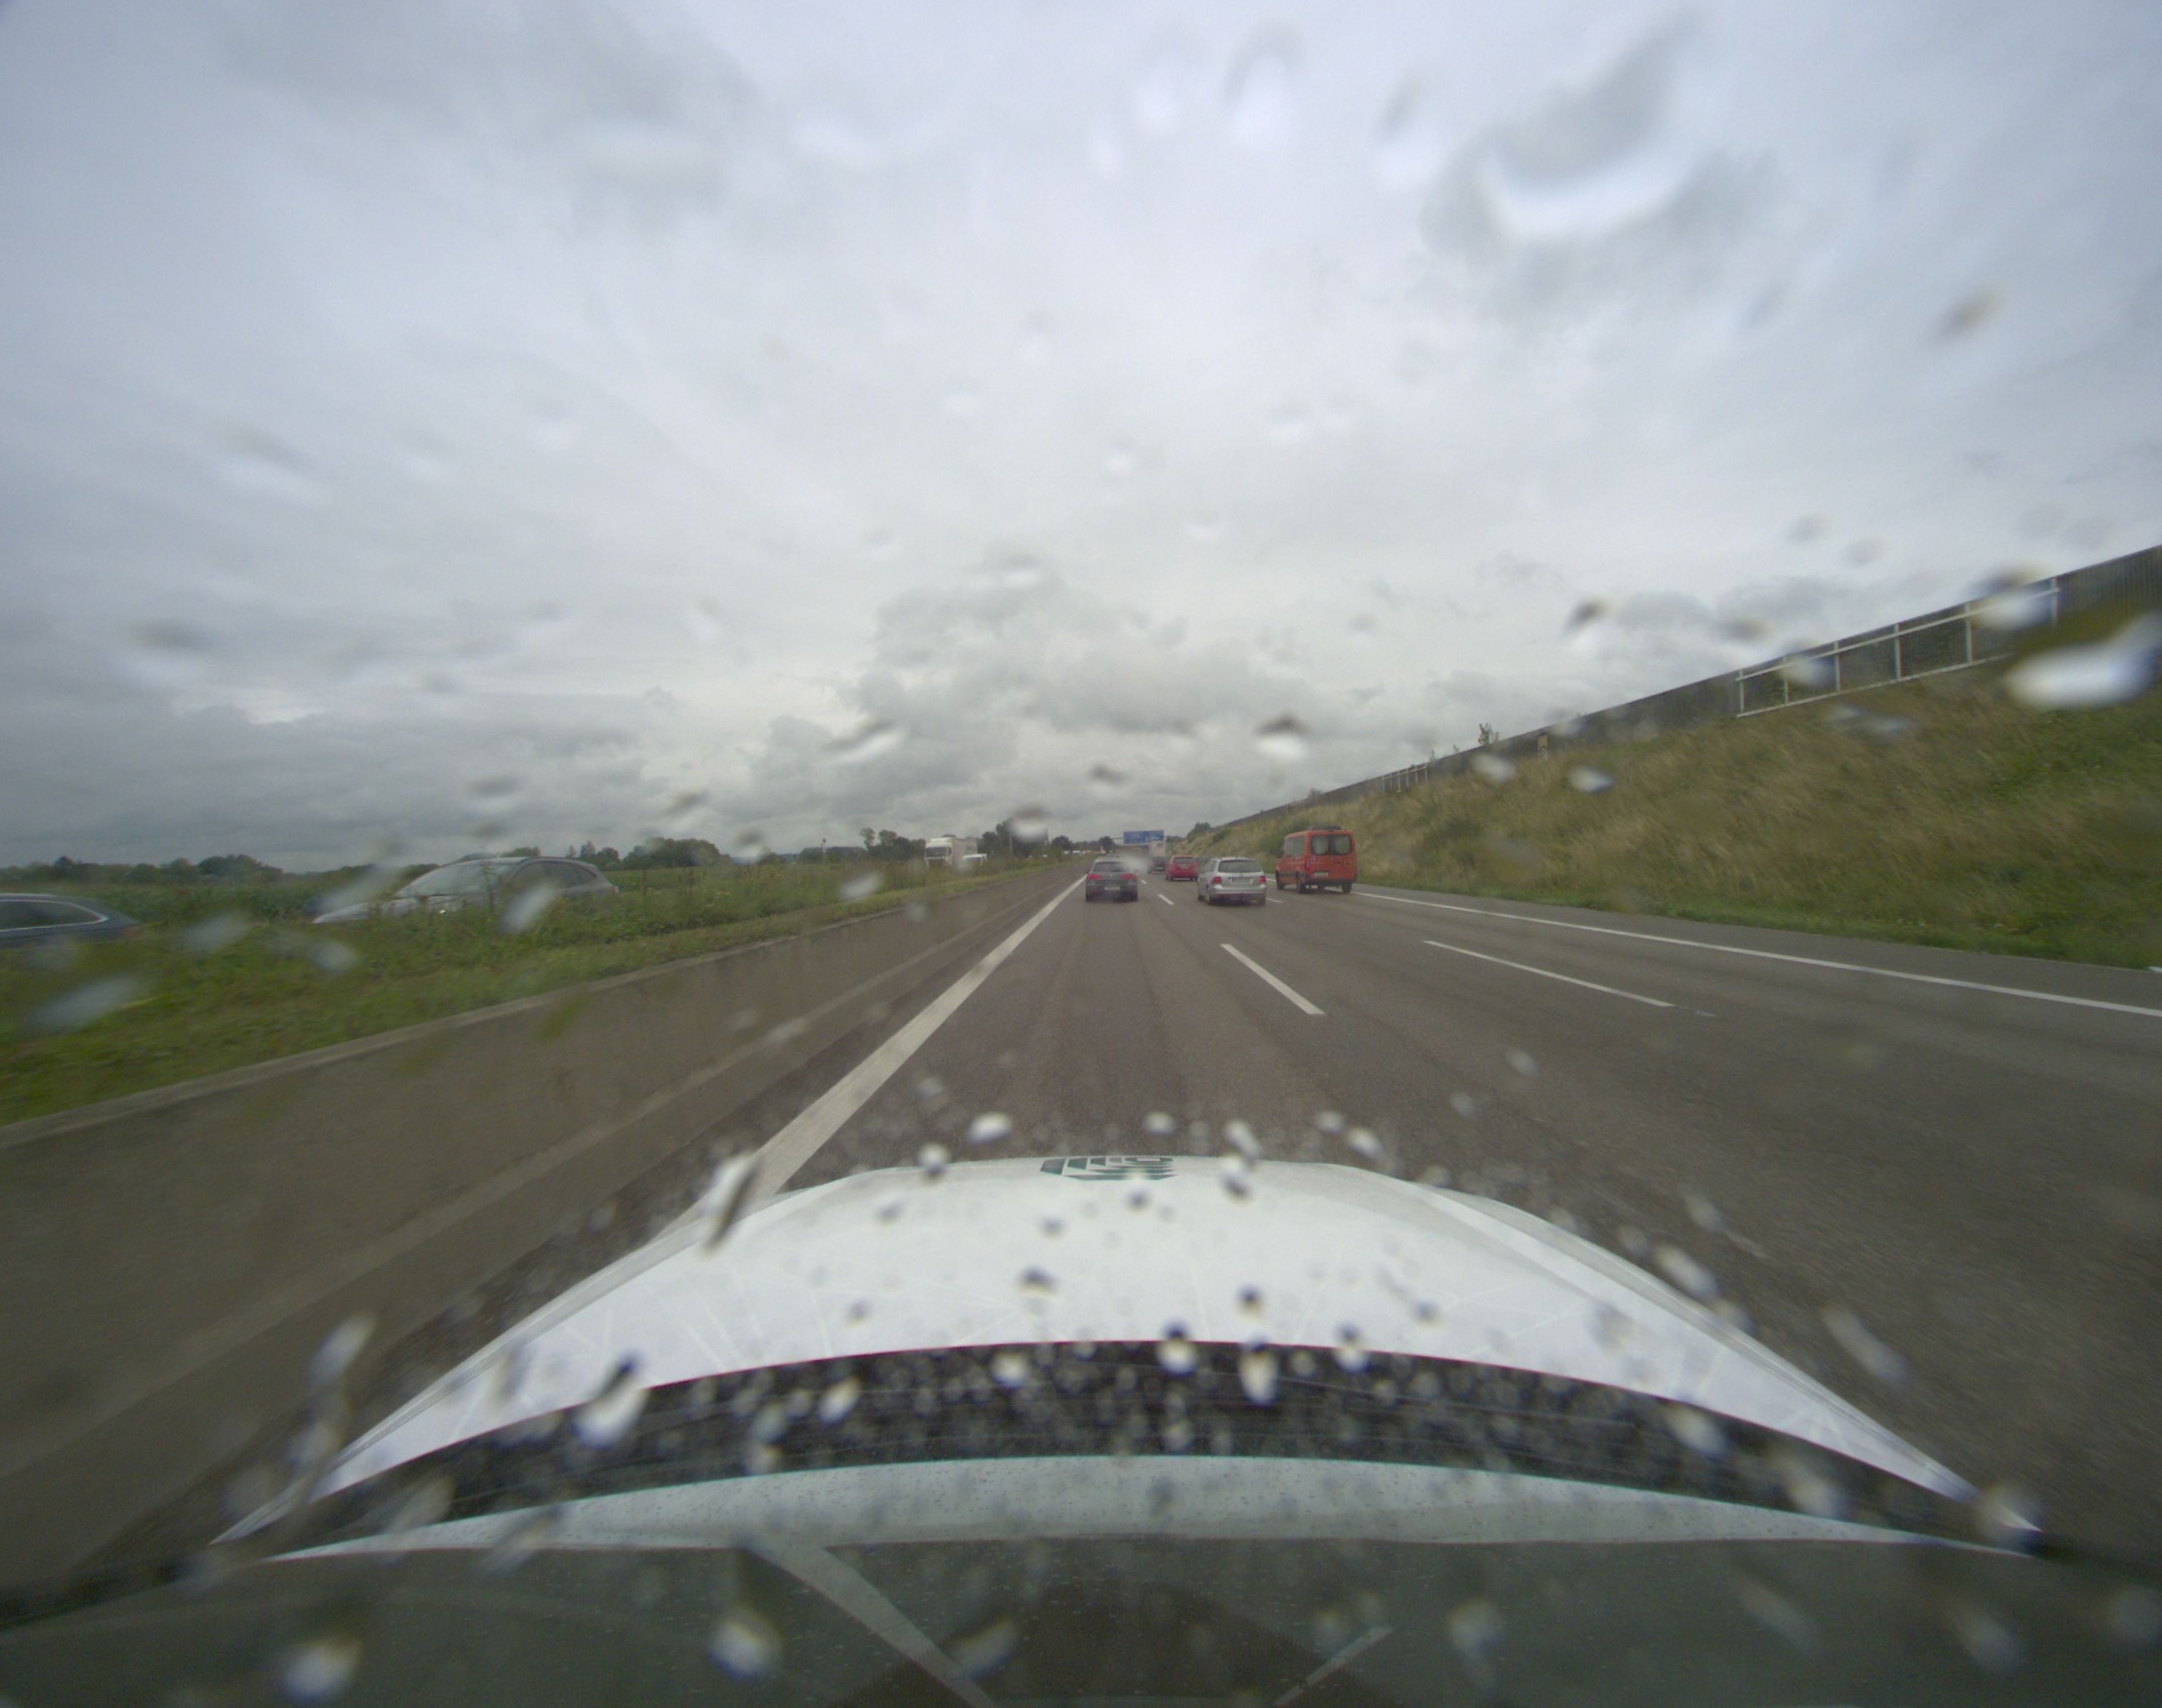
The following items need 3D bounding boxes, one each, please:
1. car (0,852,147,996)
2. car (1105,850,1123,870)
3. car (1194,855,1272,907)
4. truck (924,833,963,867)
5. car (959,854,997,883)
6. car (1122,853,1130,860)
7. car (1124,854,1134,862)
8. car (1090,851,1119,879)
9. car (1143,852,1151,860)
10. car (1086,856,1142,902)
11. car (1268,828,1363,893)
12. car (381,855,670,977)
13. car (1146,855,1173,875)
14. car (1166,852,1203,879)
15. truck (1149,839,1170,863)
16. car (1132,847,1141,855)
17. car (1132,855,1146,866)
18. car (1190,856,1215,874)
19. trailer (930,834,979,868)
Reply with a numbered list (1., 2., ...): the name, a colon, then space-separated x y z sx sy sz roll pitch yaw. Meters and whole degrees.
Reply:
1. car: -12.994 0.787 8.543 1.889 1.603 3.834 -1 0 2
2. car: 3.352 0.579 81.644 1.698 1.796 3.858 -3 0 3
3. car: 4.686 0.776 25.747 1.735 1.425 4.519 -2 0 2
4. truck: -14.204 -0.377 84.487 2.959 3.428 5.629 -1 -1 1
5. car: -7.528 0.999 59.960 1.986 2.013 5.071 -1 0 2
6. car: 12.148 0.607 217.936 1.986 1.813 4.599 -1 0 2
7. car: 9.296 0.781 156.638 1.745 1.517 4.002 -2 0 2
8. car: 1.607 0.734 54.199 1.746 1.750 4.004 -1 -1 4
9. car: 18.012 0.555 222.488 1.986 1.860 4.392 -2 0 2
10. car: 1.155 0.814 28.060 1.761 1.467 4.003 -1 0 3
11. car: 9.198 0.232 32.544 2.078 2.315 6.183 -2 0 1
12. car: -8.778 0.866 13.380 1.875 1.684 4.002 -1 0 2
13. car: 6.442 0.885 67.071 1.914 1.522 4.624 -2 0 2
14. car: 6.145 0.655 48.727 1.883 1.446 4.689 -2 0 3
15. truck: 14.930 -0.537 156.495 3.269 4.295 19.049 -1 0 3
16. car: 13.536 -0.686 200.198 1.986 2.013 4.001 -2 0 1
17. car: 8.945 1.008 125.809 1.839 1.687 4.001 -1 0 1
18. car: 9.843 0.867 66.322 1.695 1.401 3.879 -1 0 4
19. trailer: -13.945 -0.261 90.887 2.903 3.428 13.248 -1 0 2
